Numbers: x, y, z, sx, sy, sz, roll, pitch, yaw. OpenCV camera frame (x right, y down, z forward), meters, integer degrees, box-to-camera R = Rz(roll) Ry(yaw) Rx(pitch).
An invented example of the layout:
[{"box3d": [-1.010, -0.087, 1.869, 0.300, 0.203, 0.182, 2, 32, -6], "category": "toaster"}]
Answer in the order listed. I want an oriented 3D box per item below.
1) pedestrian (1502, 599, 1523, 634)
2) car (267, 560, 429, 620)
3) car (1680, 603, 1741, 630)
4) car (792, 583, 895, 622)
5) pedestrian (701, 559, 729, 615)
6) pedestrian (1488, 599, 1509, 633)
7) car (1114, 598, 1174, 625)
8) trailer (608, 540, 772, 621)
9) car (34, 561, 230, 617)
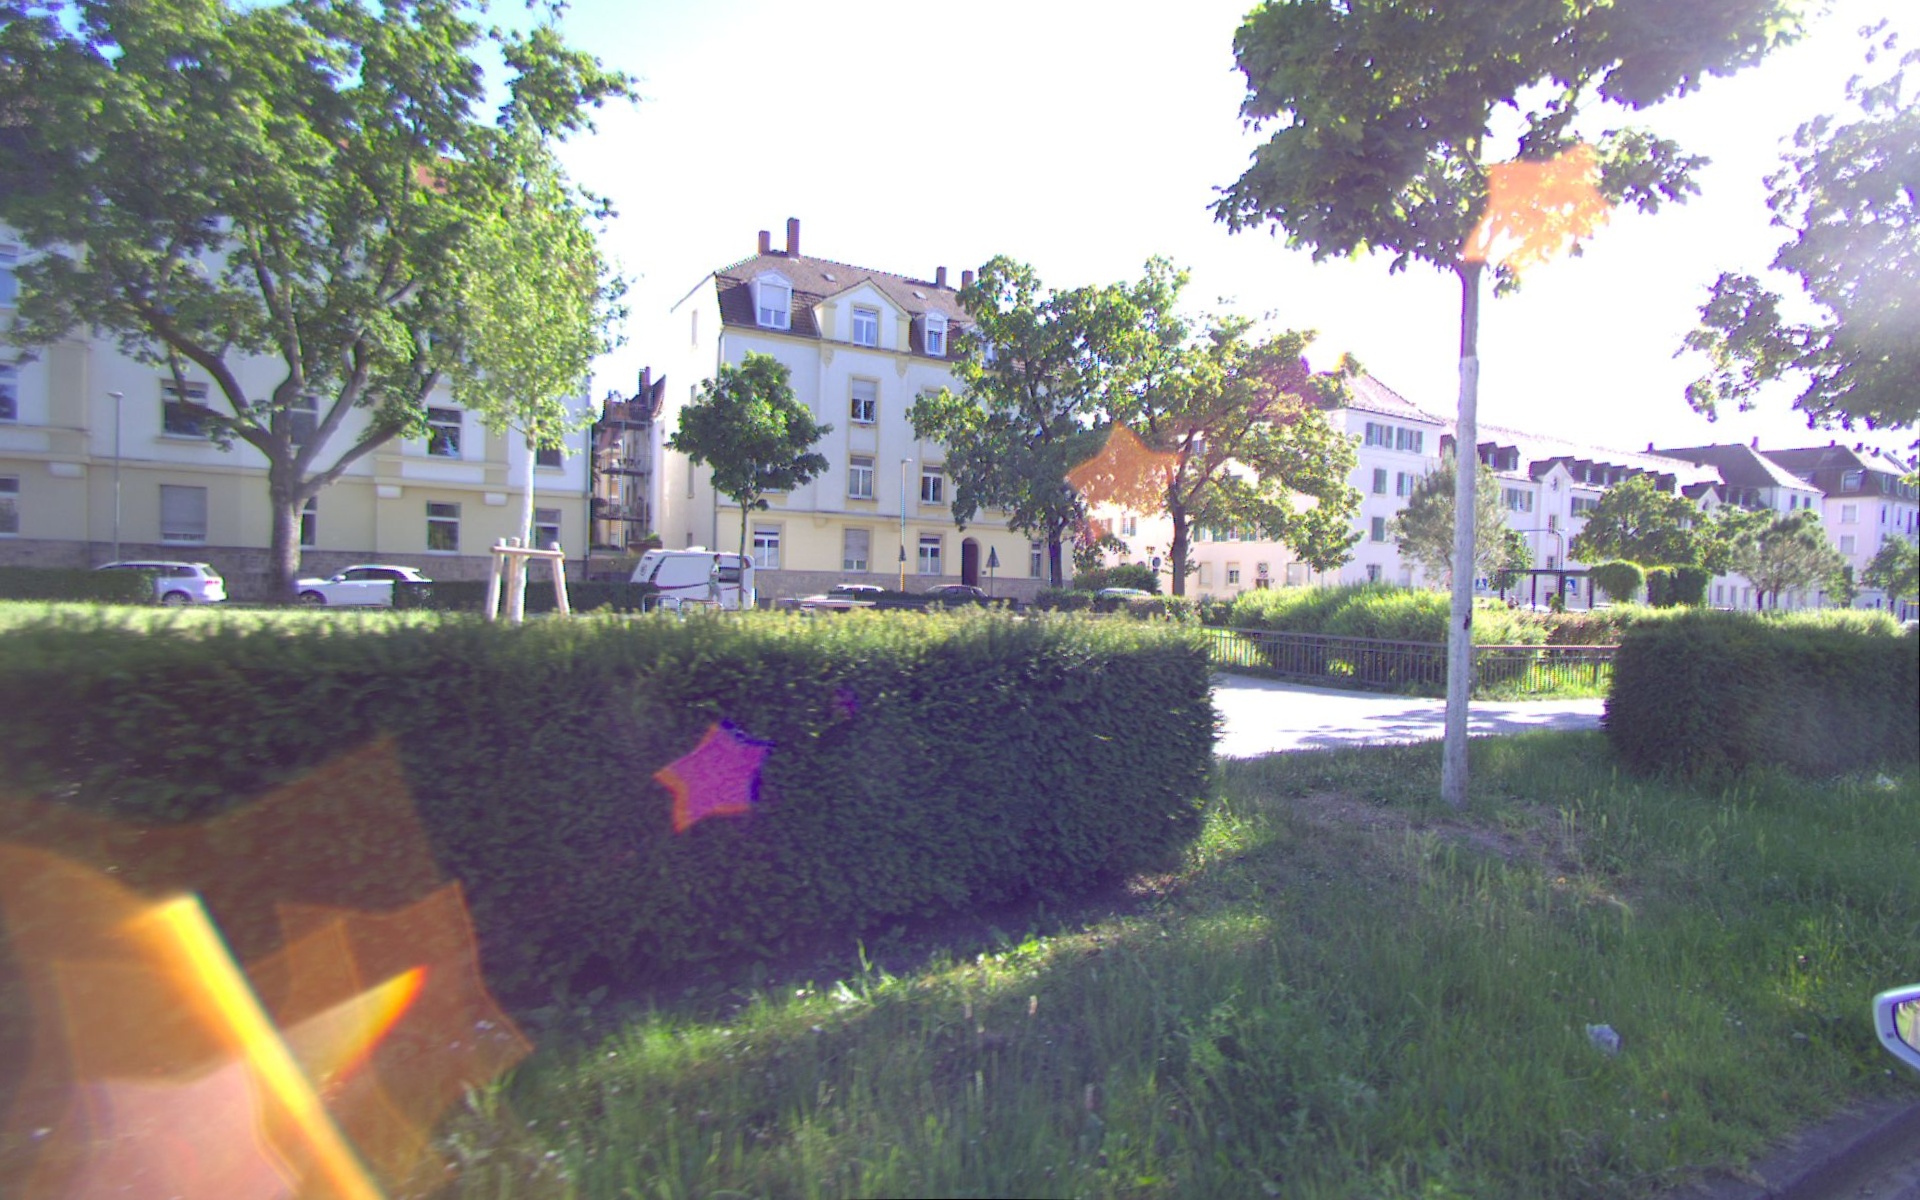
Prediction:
[{"box3d": [27.667, 0.827, 50.336, 0.642, 1.721, 0.645, 1, 0, -30], "category": "pedestrian"}, {"box3d": [-20.061, -0.316, 33.128, 4.436, 1.801, 1.785, 1, 1, -30], "category": "car"}, {"box3d": [54.051, 1.189, 72.341, 4.647, 1.733, 1.785, 2, 1, -30], "category": "car"}, {"box3d": [-4.943, 0.110, 42.609, 3.953, 1.530, 1.785, 2, 2, -30], "category": "car"}, {"box3d": [-7.463, -0.389, 30.621, 0.642, 1.683, 0.645, 1, 0, -30], "category": "pedestrian"}, {"box3d": [27.338, 0.825, 51.012, 0.642, 1.721, 0.645, 1, 0, -30], "category": "pedestrian"}, {"box3d": [12.313, 0.761, 67.403, 1.779, 1.587, 3.966, 1, 1, -31], "category": "car"}, {"box3d": [-10.486, -0.726, 39.206, 5.736, 2.909, 2.331, 1, 2, -31], "category": "trailer"}, {"box3d": [-24.829, -0.322, 30.341, 4.296, 1.530, 1.785, 1, 1, -30], "category": "car"}]
